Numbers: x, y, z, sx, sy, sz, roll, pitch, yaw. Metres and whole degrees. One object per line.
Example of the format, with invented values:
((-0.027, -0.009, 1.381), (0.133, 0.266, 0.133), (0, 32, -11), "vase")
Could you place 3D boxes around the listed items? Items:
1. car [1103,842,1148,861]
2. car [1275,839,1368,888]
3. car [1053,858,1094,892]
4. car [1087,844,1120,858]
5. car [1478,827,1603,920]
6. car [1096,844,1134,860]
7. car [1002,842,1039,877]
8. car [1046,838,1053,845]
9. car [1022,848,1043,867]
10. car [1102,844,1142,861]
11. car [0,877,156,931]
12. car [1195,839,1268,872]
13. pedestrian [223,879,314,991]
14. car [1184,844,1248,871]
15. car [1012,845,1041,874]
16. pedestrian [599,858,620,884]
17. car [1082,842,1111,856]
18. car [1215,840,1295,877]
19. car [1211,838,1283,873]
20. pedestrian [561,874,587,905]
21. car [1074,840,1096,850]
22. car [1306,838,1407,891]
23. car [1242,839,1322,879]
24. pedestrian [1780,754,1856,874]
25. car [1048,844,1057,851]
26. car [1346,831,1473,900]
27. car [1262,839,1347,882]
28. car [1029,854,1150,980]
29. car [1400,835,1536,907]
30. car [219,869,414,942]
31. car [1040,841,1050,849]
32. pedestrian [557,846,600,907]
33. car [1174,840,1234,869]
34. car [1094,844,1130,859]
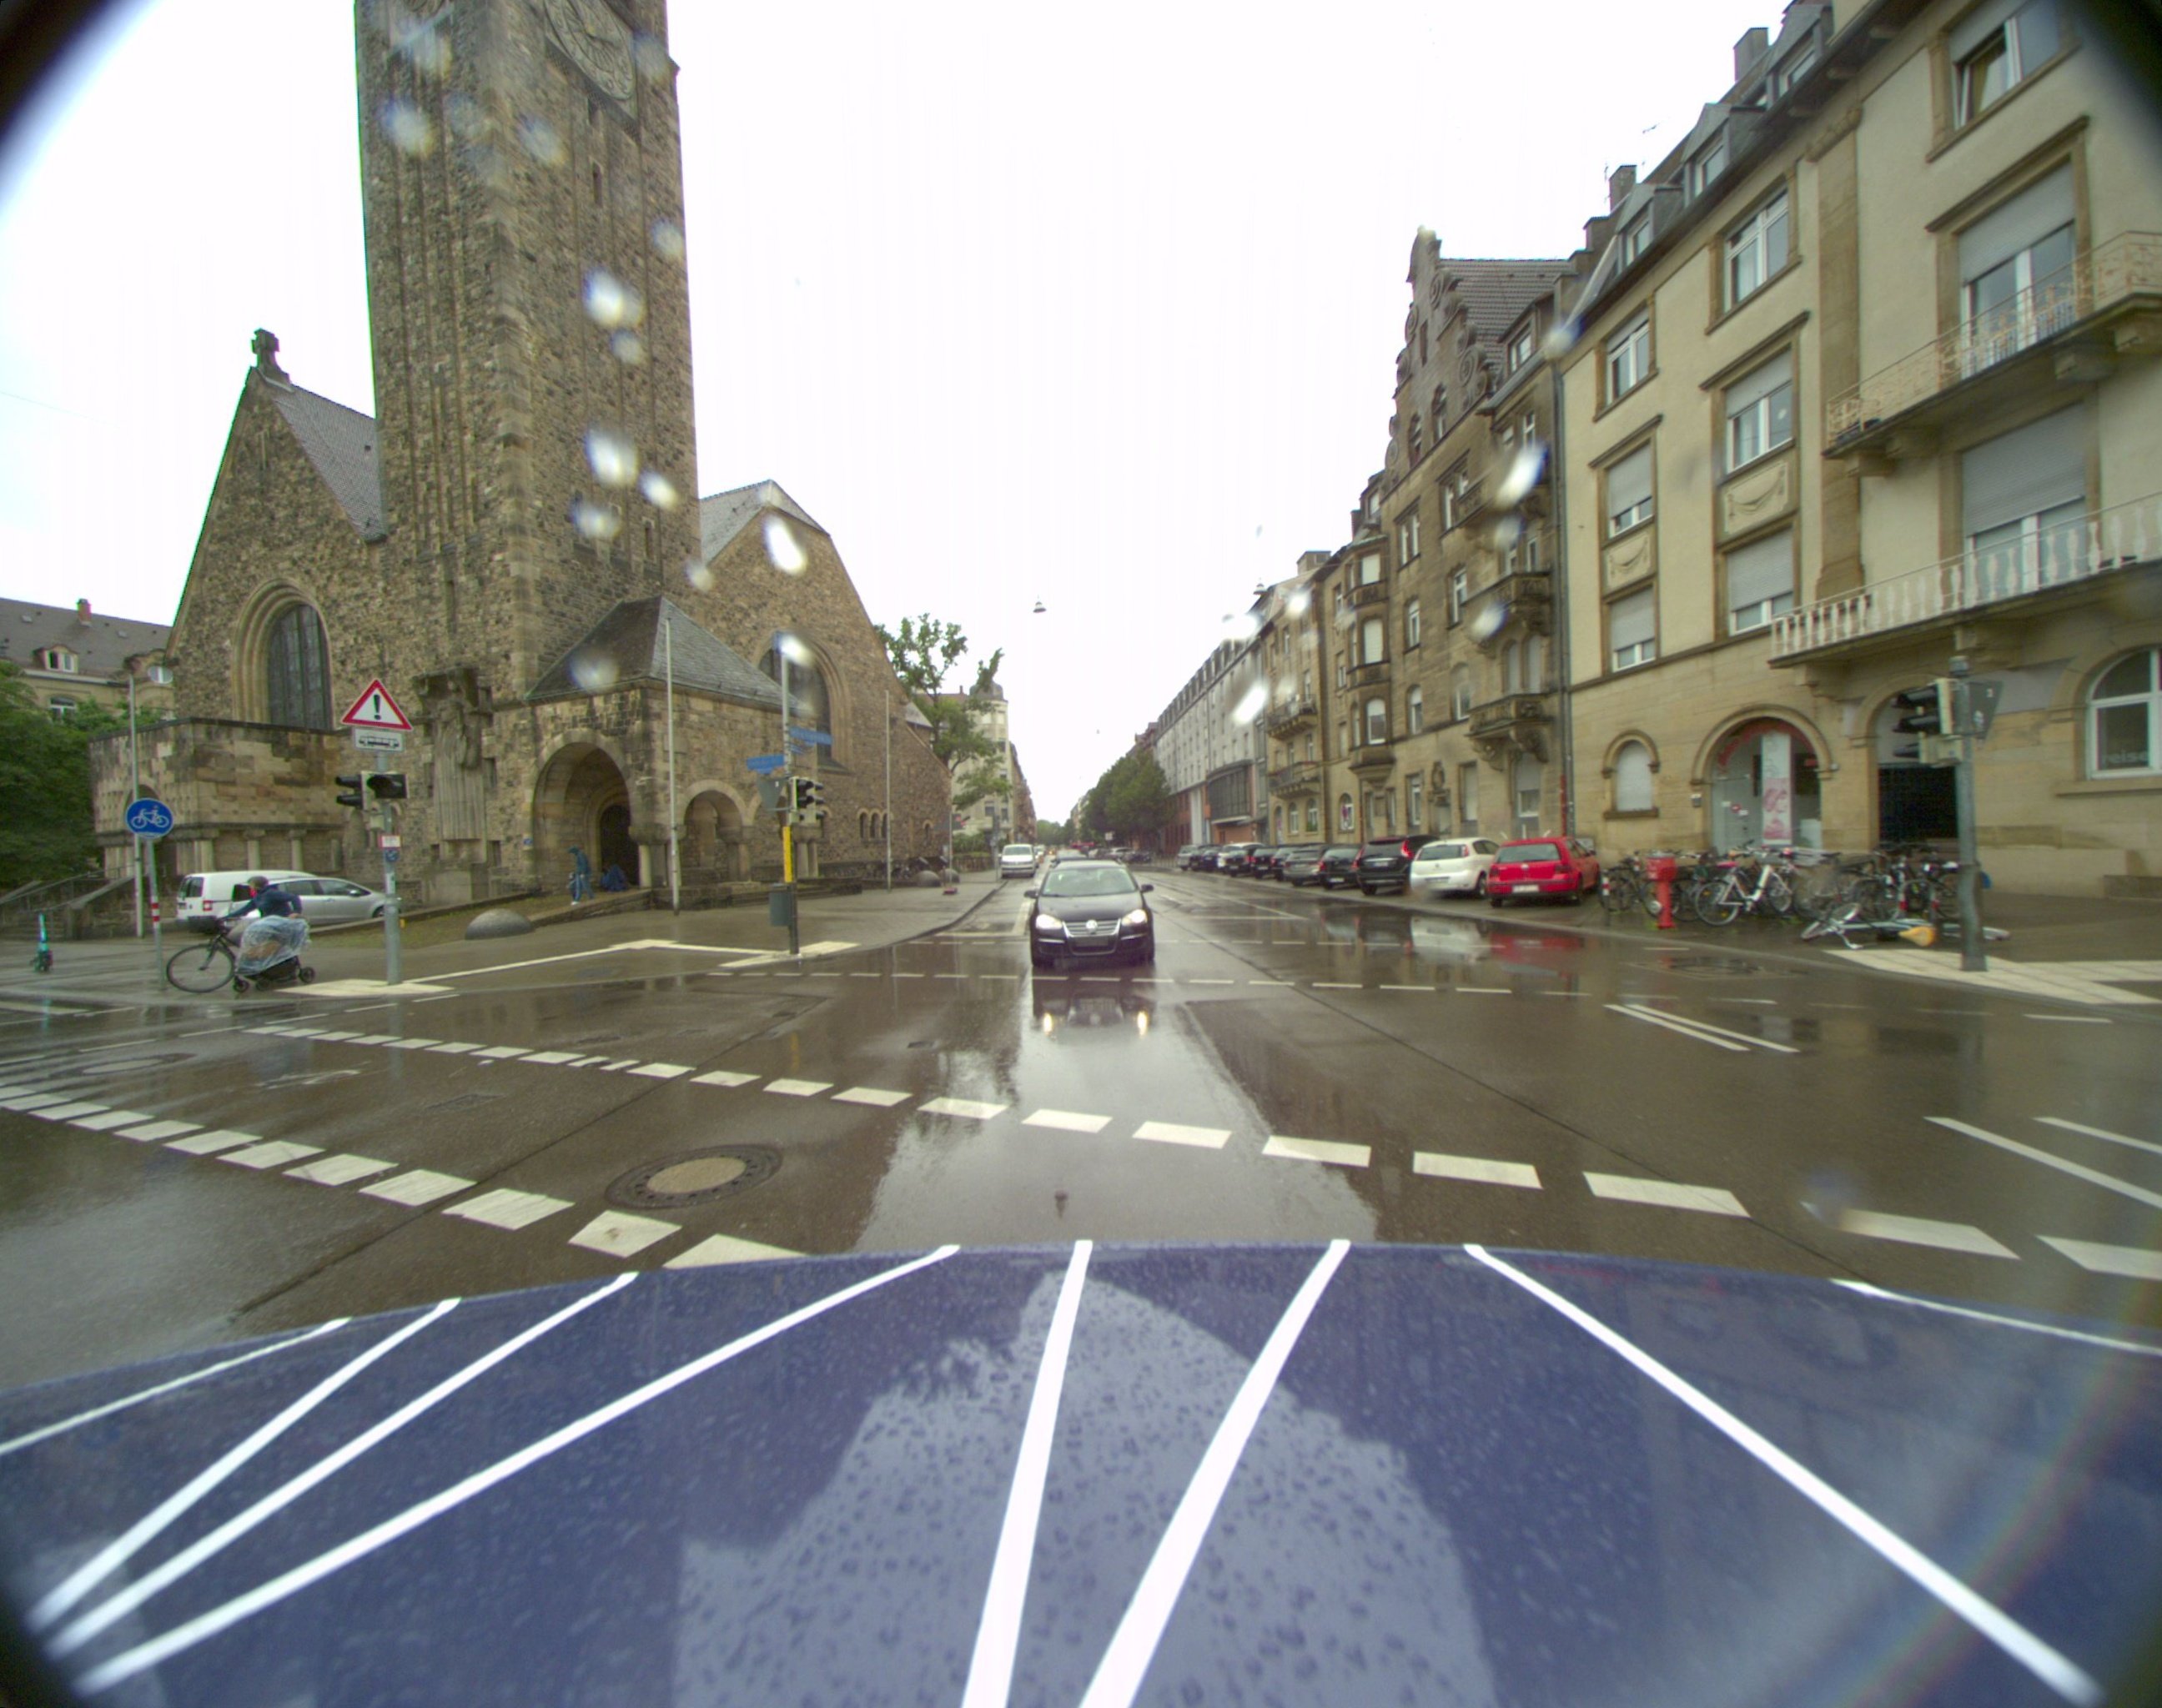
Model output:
((4.448, -0.249, 76.364), (4.006, 1.804, 1.995), (-2, 1, -28), "car")
((9.034, 0.345, 28.451), (3.435, 1.535, 1.697), (-5, 1, -41), "car")
((-0.347, 0.835, 31.451), (1.548, 1.214, 3.606), (-1, 1, -2), "car")
((2.859, -0.361, 96.996), (3.803, 1.705, 1.998), (-2, 1, -12), "car")
((10.268, 0.365, 16.839), (1.799, 1.499, 4.005), (-6, 1, 38), "car")
((3.749, -0.211, 84.132), (3.803, 1.705, 1.998), (-2, 1, -12), "car")
((-3.604, 0.281, 45.896), (1.909, 1.912, 5.270), (-1, 1, -2), "car")
((-9.111, -3.682, 220.046), (1.838, 1.827, 4.000), (-1, 1, 2), "car")
((-4.181, 0.259, 65.853), (1.675, 1.541, 3.917), (-1, 1, -2), "car")
((4.390, -0.212, 81.081), (3.803, 1.705, 1.998), (-2, 1, -12), "car")
((-37.010, 1.780, 27.493), (1.995, 1.609, 4.005), (-2, 1, 22), "car")
((8.667, 0.062, 43.714), (3.732, 1.519, 1.897), (-6, 3, -33), "car")
((-12.682, 1.247, 11.878), (0.604, 1.654, 0.689), (-2, 1, 1), "pedestrian")
((8.247, 0.193, 46.336), (3.734, 1.519, 1.713), (-2, 1, -37), "car")
((-3.726, 0.354, 52.575), (1.837, 1.835, 4.294), (-1, 1, -2), "car")
((-16.698, 0.598, 26.899), (0.396, 0.879, 0.457), (-1, 1, 21), "pedestrian")
((2.394, -0.798, 117.363), (4.006, 2.002, 1.995), (-2, 1, -30), "car")
((8.655, 0.198, 37.638), (3.733, 1.535, 1.774), (-5, 1, -37), "car")
((8.960, 0.060, 40.910), (3.733, 1.617, 1.774), (-5, 1, -40), "car")
((-14.864, 1.039, 22.269), (0.455, 0.879, 0.397), (-2, 1, 18), "pedestrian")
((0.767, -1.760, 145.059), (3.809, 1.705, 1.995), (-2, 1, -36), "car")
((9.291, 0.335, 25.582), (3.316, 1.516, 1.697), (-5, 1, -40), "car")
((9.204, 0.200, 34.664), (3.765, 1.535, 1.624), (-5, 1, -42), "car")
((14.945, -0.790, 15.433), (0.846, 2.326, 0.765), (-1, 1, 20), "pedestrian")
((-7.476, -1.803, 197.095), (1.998, 1.705, 4.374), (-1, 1, 2), "car")
((9.707, 0.290, 22.299), (4.092, 1.682, 1.759), (-5, 1, -41), "car")
((9.367, 0.251, 31.793), (3.449, 1.535, 1.624), (-5, 1, -38), "car")
((0.050, 0.829, 12.028), (1.548, 1.554, 4.069), (-1, 1, -2), "car")
((10.098, 0.396, 19.704), (4.001, 1.525, 1.700), (-4, 1, -41), "car")
((-21.550, 1.391, 21.574), (1.732, 1.566, 3.361), (-2, 4, 24), "car")
((-8.275, -2.092, 175.594), (1.998, 1.705, 3.802), (-1, 1, 2), "car")
((-14.228, 0.627, 21.524), (0.633, 1.693, 0.679), (-2, 1, 18), "pedestrian")
((8.036, 0.012, 49.408), (3.931, 1.720, 1.811), (-2, 1, -43), "car")
((3.659, -0.294, 89.719), (3.803, 1.705, 1.998), (-2, 1, -12), "car")
